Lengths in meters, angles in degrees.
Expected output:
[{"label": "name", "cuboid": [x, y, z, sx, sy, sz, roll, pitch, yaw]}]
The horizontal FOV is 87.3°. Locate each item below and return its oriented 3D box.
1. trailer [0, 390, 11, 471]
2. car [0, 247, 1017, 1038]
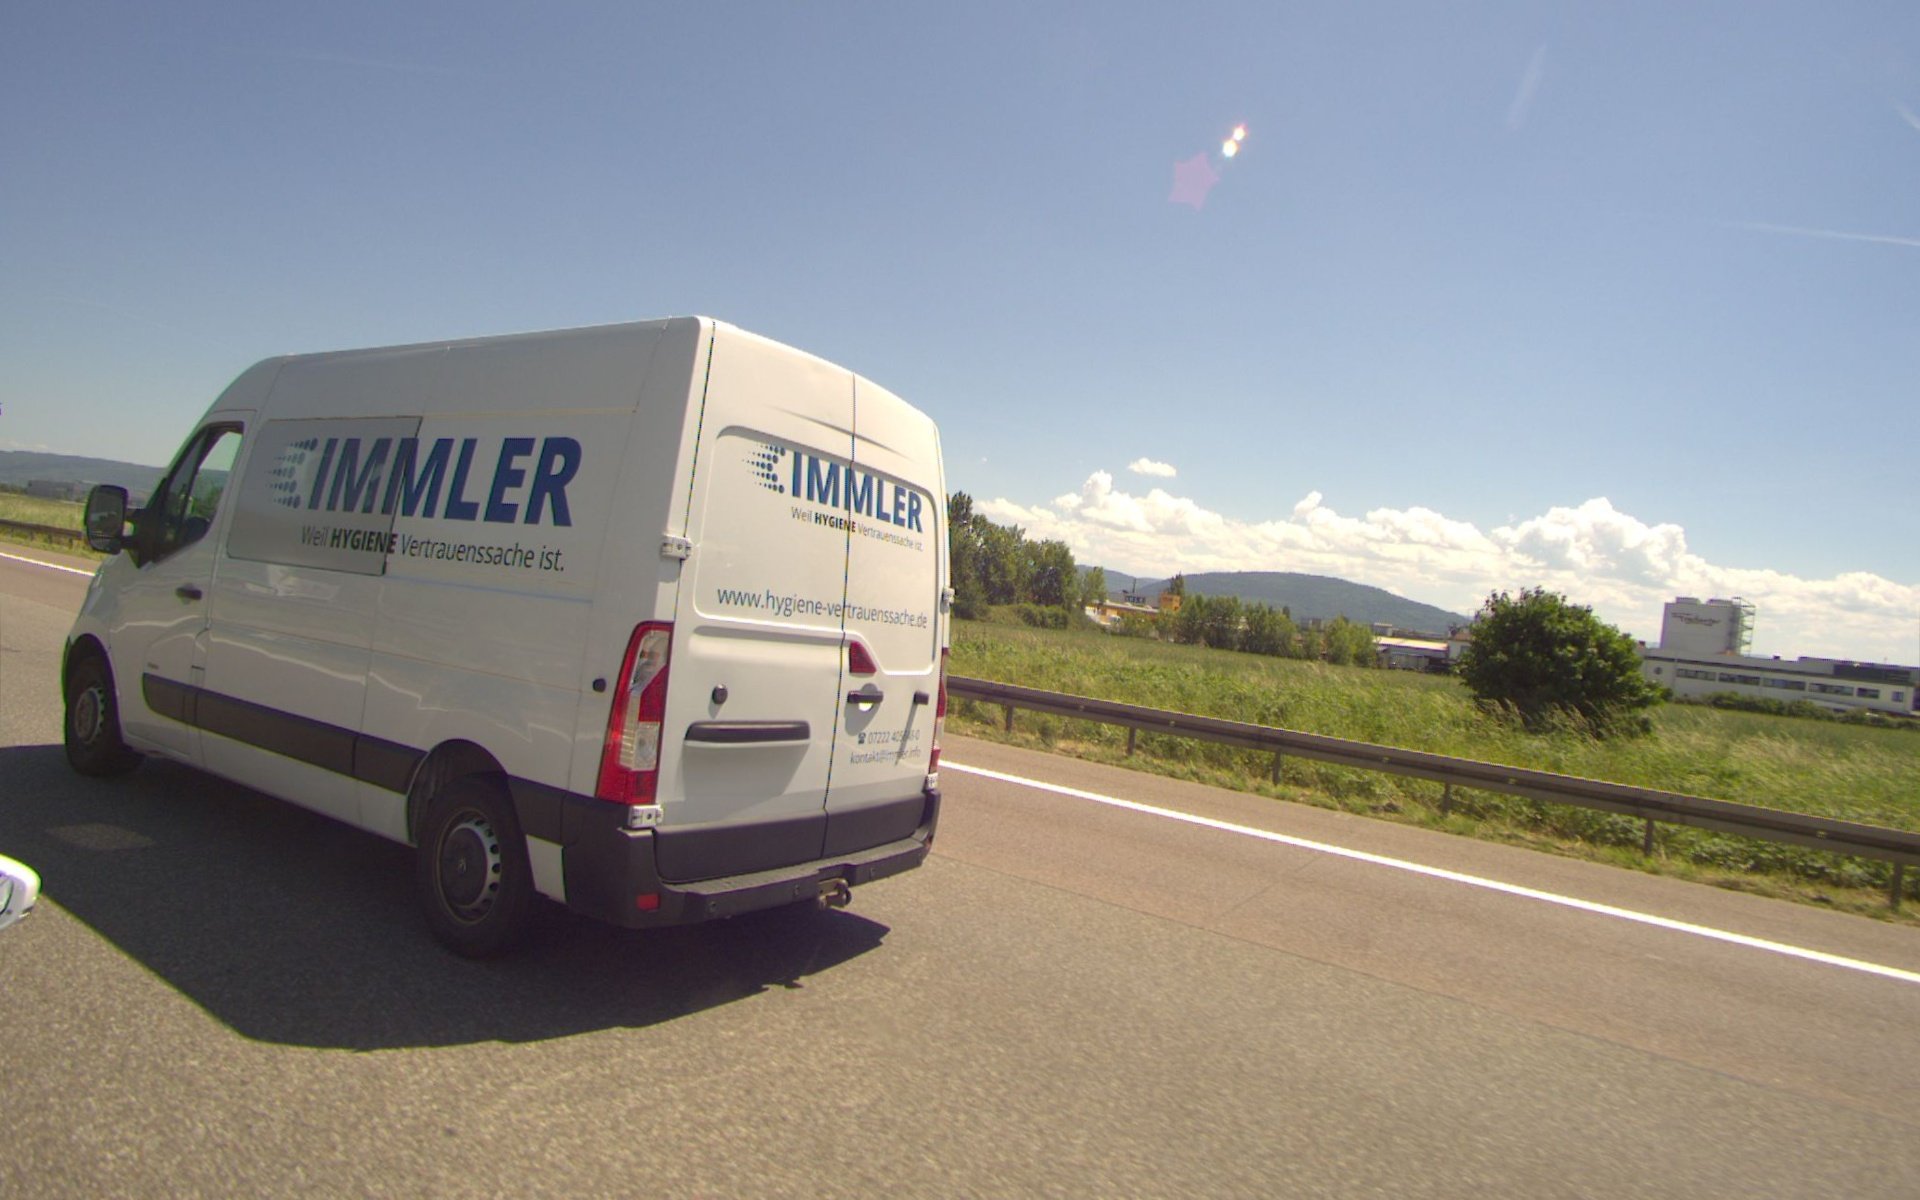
[{"label": "trailer", "cuboid": [-32.158, -4.155, 29.382, 14.022, 4.354, 2.814, 6, -2, 33]}, {"label": "car", "cuboid": [-2.885, -0.029, 5.673, 5.848, 2.537, 2.157, 6, -2, 32]}]
